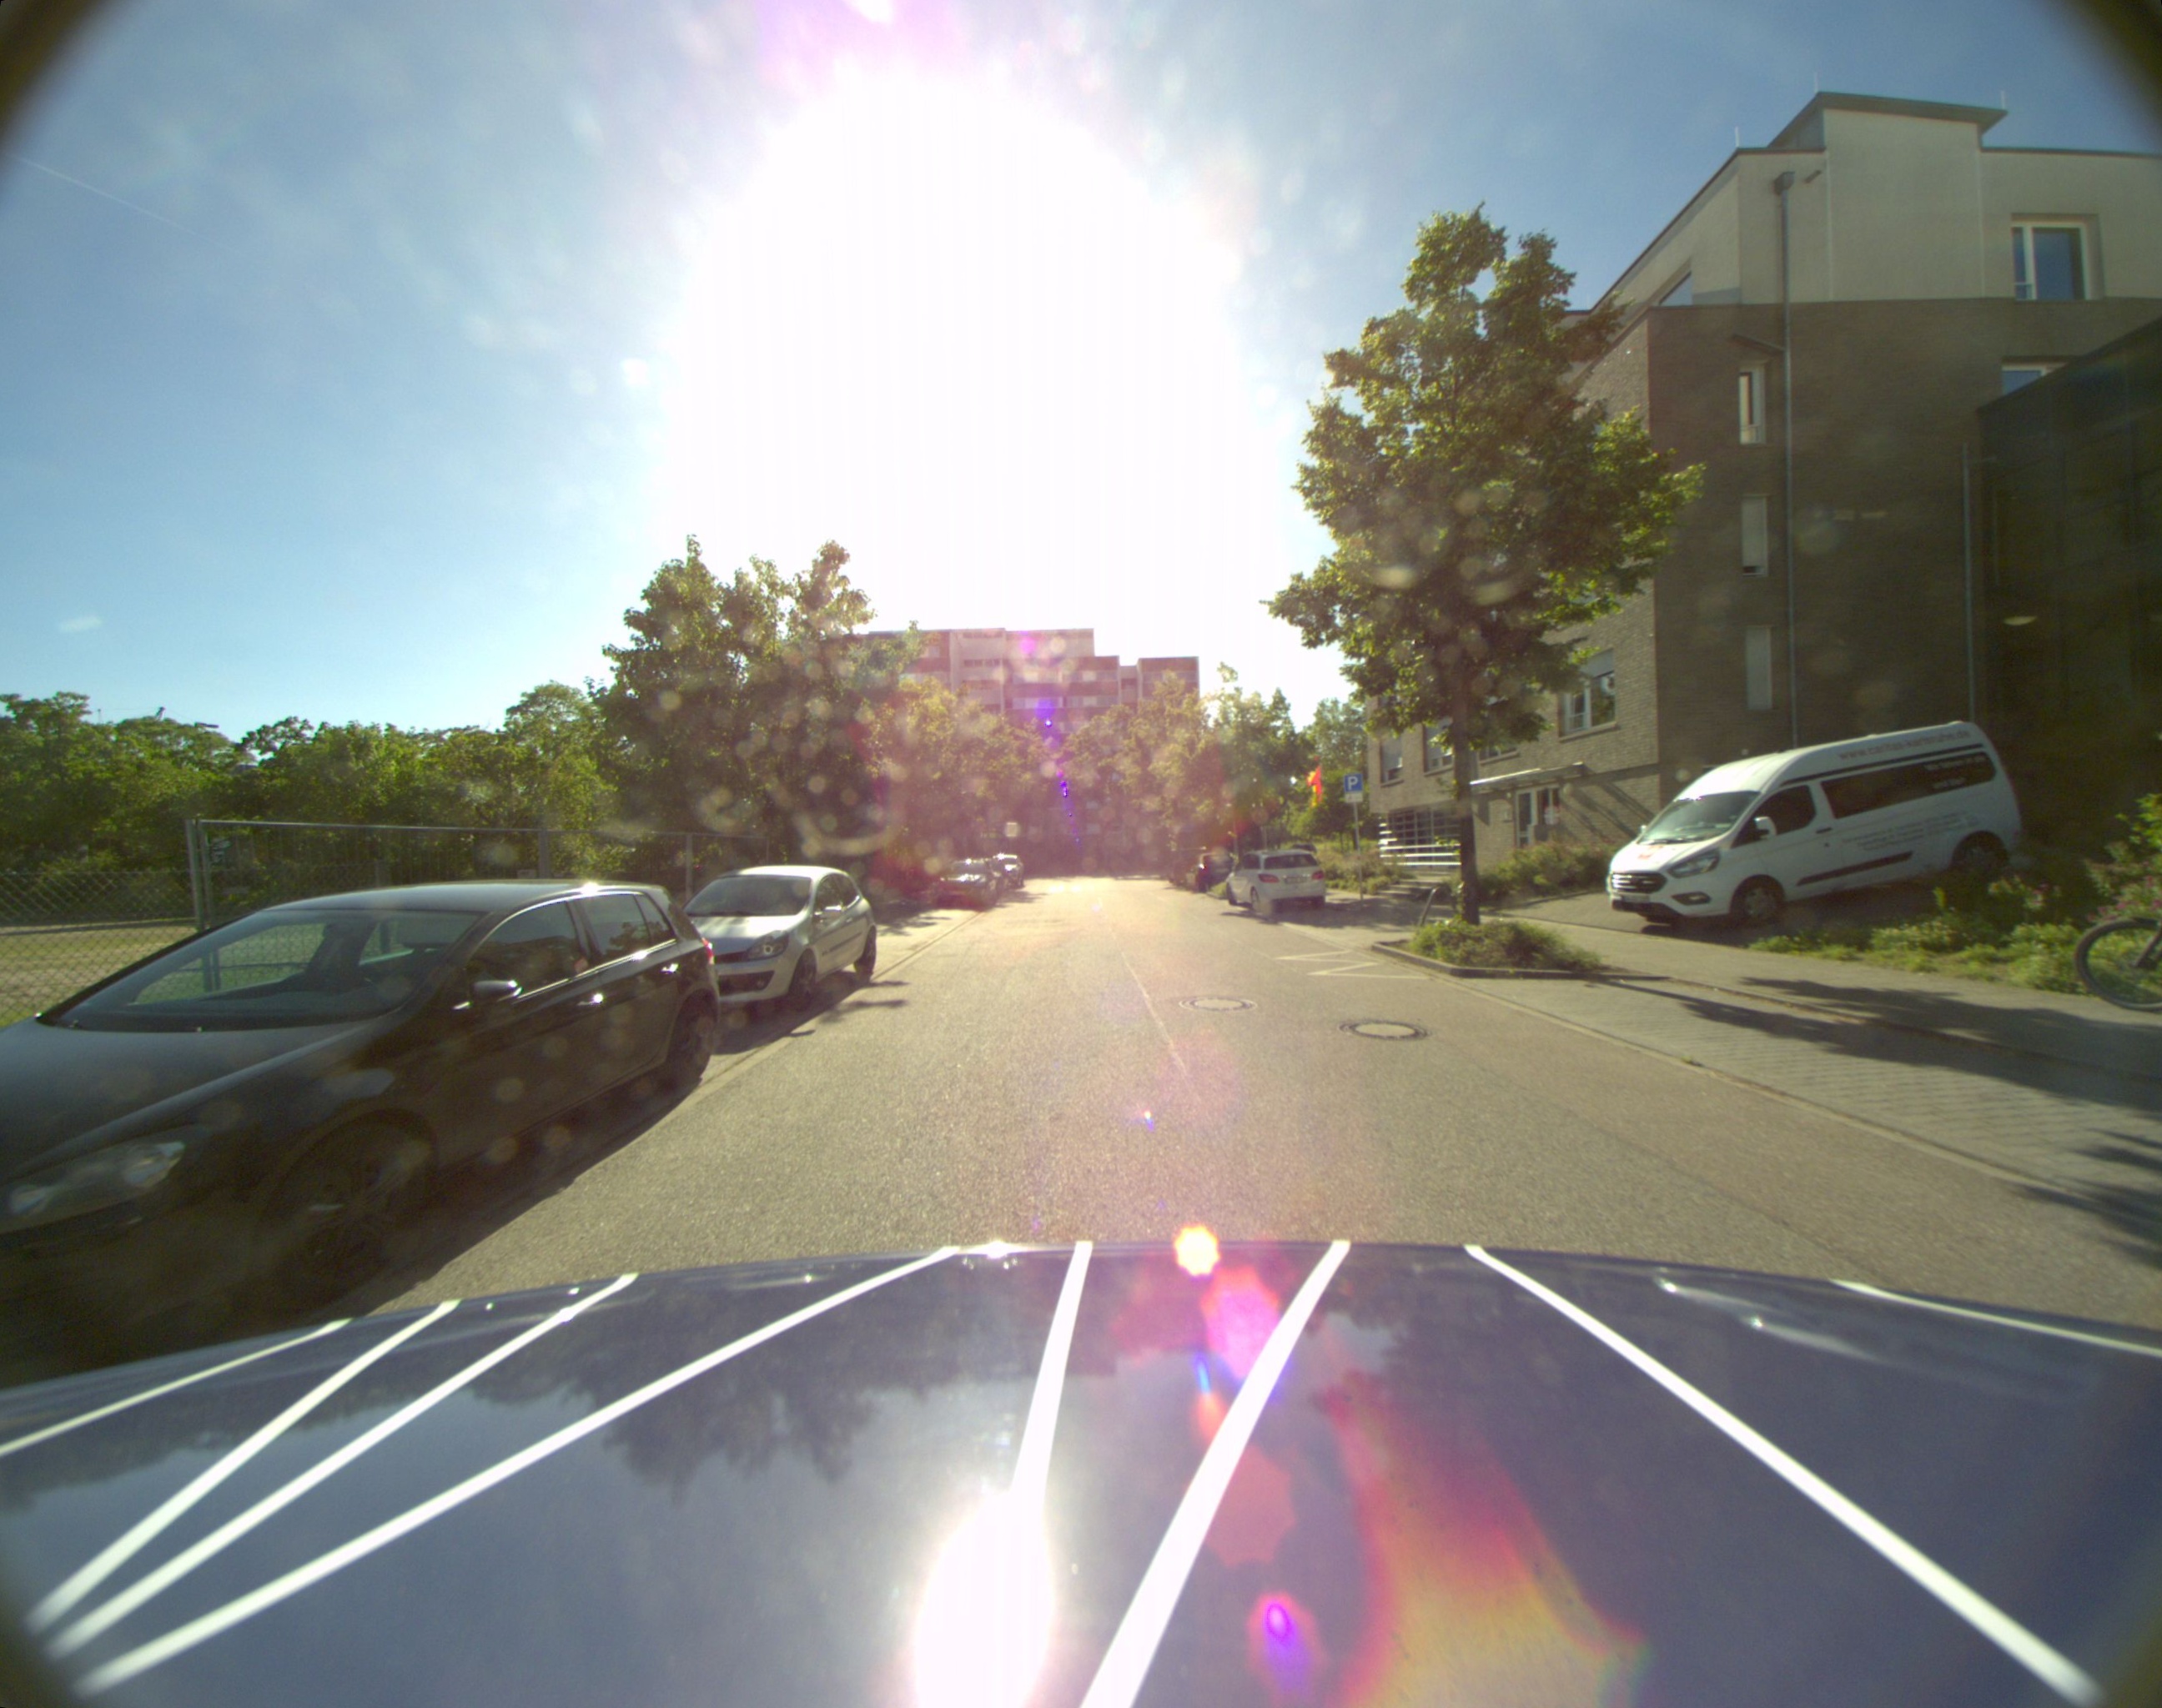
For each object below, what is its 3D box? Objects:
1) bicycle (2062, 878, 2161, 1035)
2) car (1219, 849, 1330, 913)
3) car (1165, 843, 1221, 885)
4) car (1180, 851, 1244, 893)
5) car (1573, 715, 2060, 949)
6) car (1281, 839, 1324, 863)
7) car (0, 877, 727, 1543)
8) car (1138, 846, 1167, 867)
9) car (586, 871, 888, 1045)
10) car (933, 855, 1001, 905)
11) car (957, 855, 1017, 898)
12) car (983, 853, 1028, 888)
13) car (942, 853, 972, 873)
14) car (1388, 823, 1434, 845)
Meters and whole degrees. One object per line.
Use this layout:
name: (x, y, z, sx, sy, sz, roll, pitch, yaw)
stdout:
bicycle: (7.995, 0.765, 5.162, 0.284, 1.118, 1.985, -2, 0, 6)
car: (5.136, 0.666, 20.789, 1.664, 1.523, 4.285, -2, 0, -4)
car: (5.083, 0.412, 35.052, 1.891, 1.610, 4.338, -5, 1, 1)
car: (4.964, 0.657, 29.302, 1.582, 1.495, 3.789, -2, 0, -3)
car: (10.867, -0.326, 11.485, 5.460, 2.369, 1.921, -10, 1, -3)
car: (17.641, -0.248, 60.726, 1.998, 1.769, 4.600, -2, 1, 0)
car: (-3.588, 0.977, 3.812, 1.692, 1.486, 4.077, -2, 1, -1)
car: (5.691, 0.158, 60.944, 1.700, 1.490, 3.818, -2, 2, -3)
car: (-3.644, 0.996, 8.928, 1.667, 1.504, 4.001, -2, -1, 0)
car: (-3.694, 0.790, 25.310, 1.680, 1.429, 4.438, -2, 1, -1)
car: (-3.663, 0.852, 30.357, 1.829, 1.463, 4.068, -2, 1, 0)
car: (-3.602, 0.750, 36.977, 1.623, 1.443, 4.089, -2, 2, 1)
car: (-9.938, 0.681, 61.002, 1.716, 1.443, 3.999, -1, 2, 0)
car: (26.162, -1.586, 60.349, 1.733, 1.609, 4.130, -3, 2, -2)
